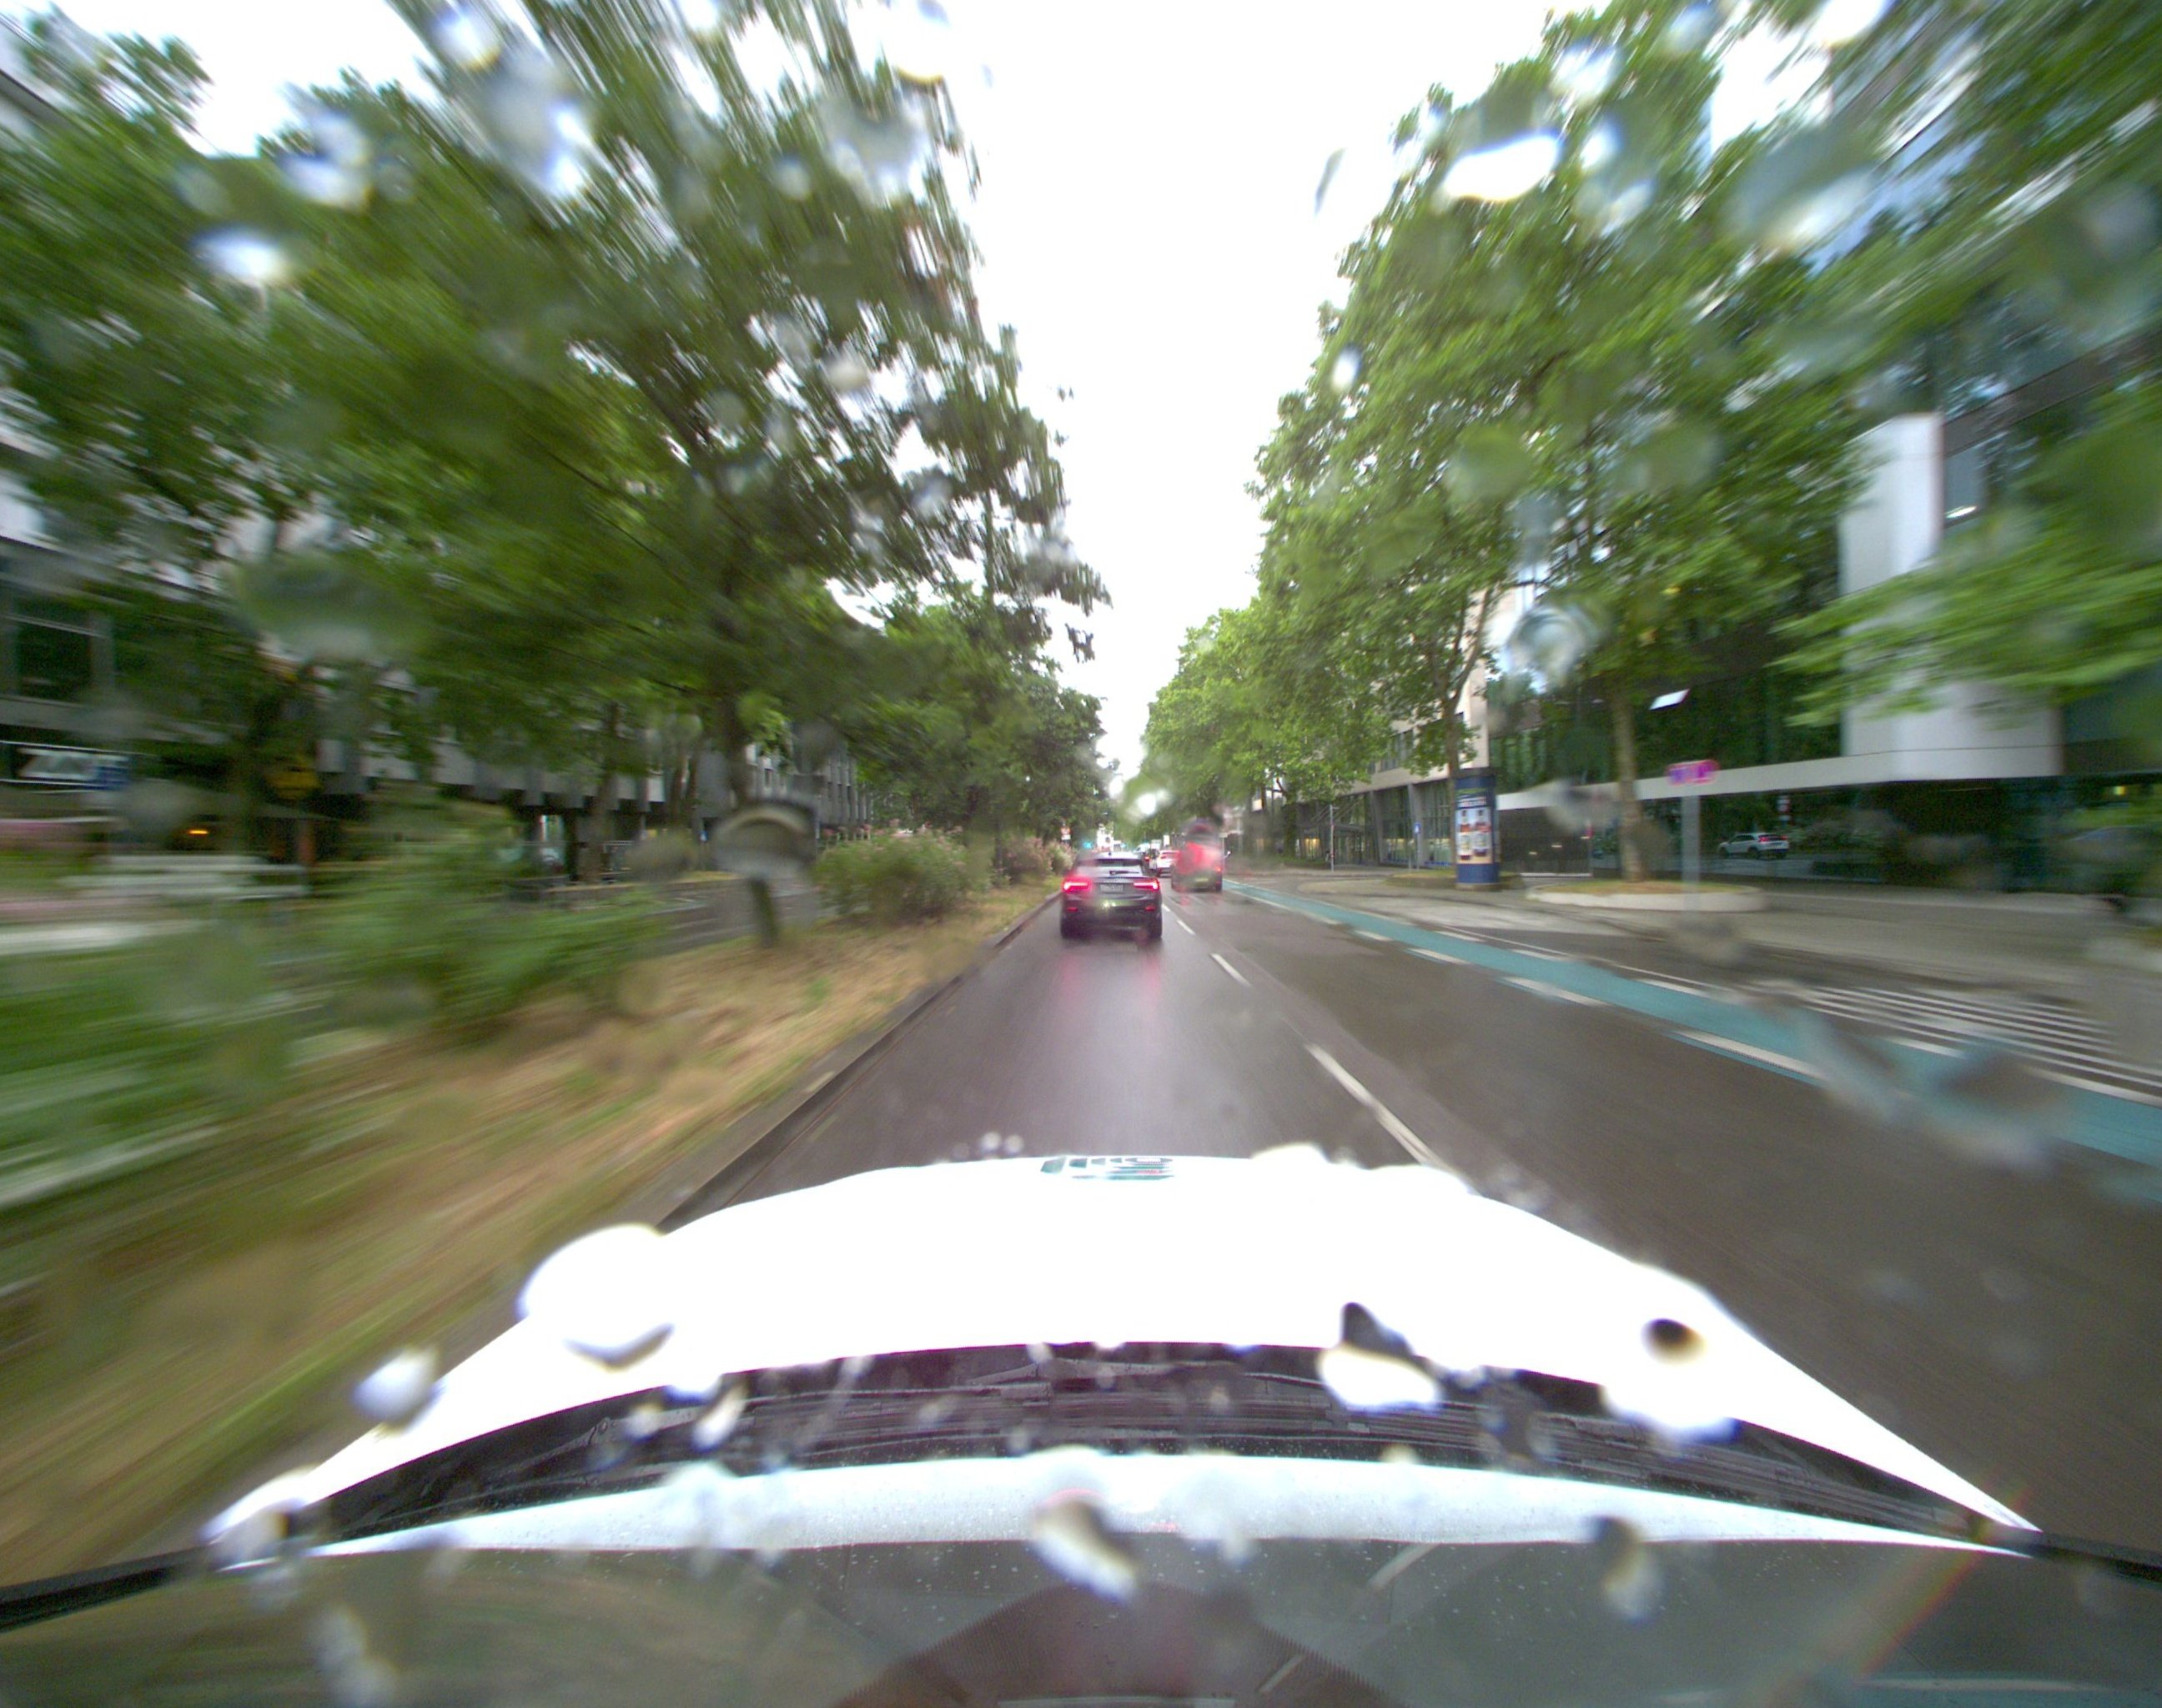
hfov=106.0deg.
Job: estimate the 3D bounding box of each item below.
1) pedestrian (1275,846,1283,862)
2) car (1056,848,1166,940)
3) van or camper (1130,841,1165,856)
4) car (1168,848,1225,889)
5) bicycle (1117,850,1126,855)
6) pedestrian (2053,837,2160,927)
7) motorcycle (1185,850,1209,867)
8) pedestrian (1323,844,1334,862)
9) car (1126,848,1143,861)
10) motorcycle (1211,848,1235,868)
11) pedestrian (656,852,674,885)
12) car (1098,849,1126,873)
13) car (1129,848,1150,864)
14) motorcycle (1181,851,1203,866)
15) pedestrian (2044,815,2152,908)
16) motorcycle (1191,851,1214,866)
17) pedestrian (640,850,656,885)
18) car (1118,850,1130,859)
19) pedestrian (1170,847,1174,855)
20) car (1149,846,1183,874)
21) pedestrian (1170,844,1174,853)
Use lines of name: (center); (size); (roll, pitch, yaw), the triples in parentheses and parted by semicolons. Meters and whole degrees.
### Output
pedestrian: (22.994, -0.028, 94.478); (0.822, 1.803, 0.730); (-1, 0, 4)
car: (0.539, 0.670, 15.834); (1.843, 1.523, 4.039); (-1, 0, 1)
van or camper: (12.296, -1.056, 149.762); (6.008, 2.558, 2.117); (-1, 0, 28)
car: (4.595, 0.551, 32.920); (1.843, 1.523, 4.040); (-1, 0, 2)
bicycle: (11.238, -0.503, 226.247); (2.335, 1.312, 0.708); (-1, 0, -6)
pedestrian: (17.906, 0.465, 14.245); (0.584, 1.505, 1.006); (-2, 0, 2)
motorcycle: (10.739, 0.433, 75.256); (2.060, 1.428, 0.724); (-3, 2, -20)
pedestrian: (23.732, -0.124, 78.056); (0.720, 1.693, 0.833); (-2, 1, 44)
car: (6.465, 0.015, 99.052); (1.843, 1.523, 4.040); (-1, 0, 2)
motorcycle: (10.363, 0.268, 59.499); (0.676, 1.367, 1.958); (-5, -1, 42)
pedestrian: (-21.822, 0.738, 42.687); (0.561, 1.708, 0.686); (-1, 0, 2)
car: (2.099, 0.459, 55.701); (1.843, 1.523, 4.040); (-1, 0, 2)
car: (5.820, 0.185, 81.457); (1.843, 1.523, 4.040); (-1, 0, 2)
motorcycle: (10.833, 0.468, 79.651); (1.962, 1.373, 0.724); (-3, 2, -20)
pedestrian: (20.574, 0.136, 16.501); (0.783, 1.793, 1.089); (-4, 1, 8)
motorcycle: (10.841, 0.414, 72.884); (2.069, 1.212, 0.677); (-4, 0, -34)
pedestrian: (-22.654, 0.690, 42.598); (0.545, 1.807, 0.522); (-1, 0, 2)
car: (7.090, 0.111, 135.207); (1.843, 1.523, 4.040); (-1, 0, 2)
pedestrian: (19.536, -0.633, 174.558); (0.802, 1.696, 1.188); (0, 0, 2)
car: (5.256, 0.370, 50.760); (1.843, 1.669, 4.040); (-1, 0, 2)
pedestrian: (18.750, -1.095, 167.927); (0.551, 1.805, 0.761); (0, -1, -2)
